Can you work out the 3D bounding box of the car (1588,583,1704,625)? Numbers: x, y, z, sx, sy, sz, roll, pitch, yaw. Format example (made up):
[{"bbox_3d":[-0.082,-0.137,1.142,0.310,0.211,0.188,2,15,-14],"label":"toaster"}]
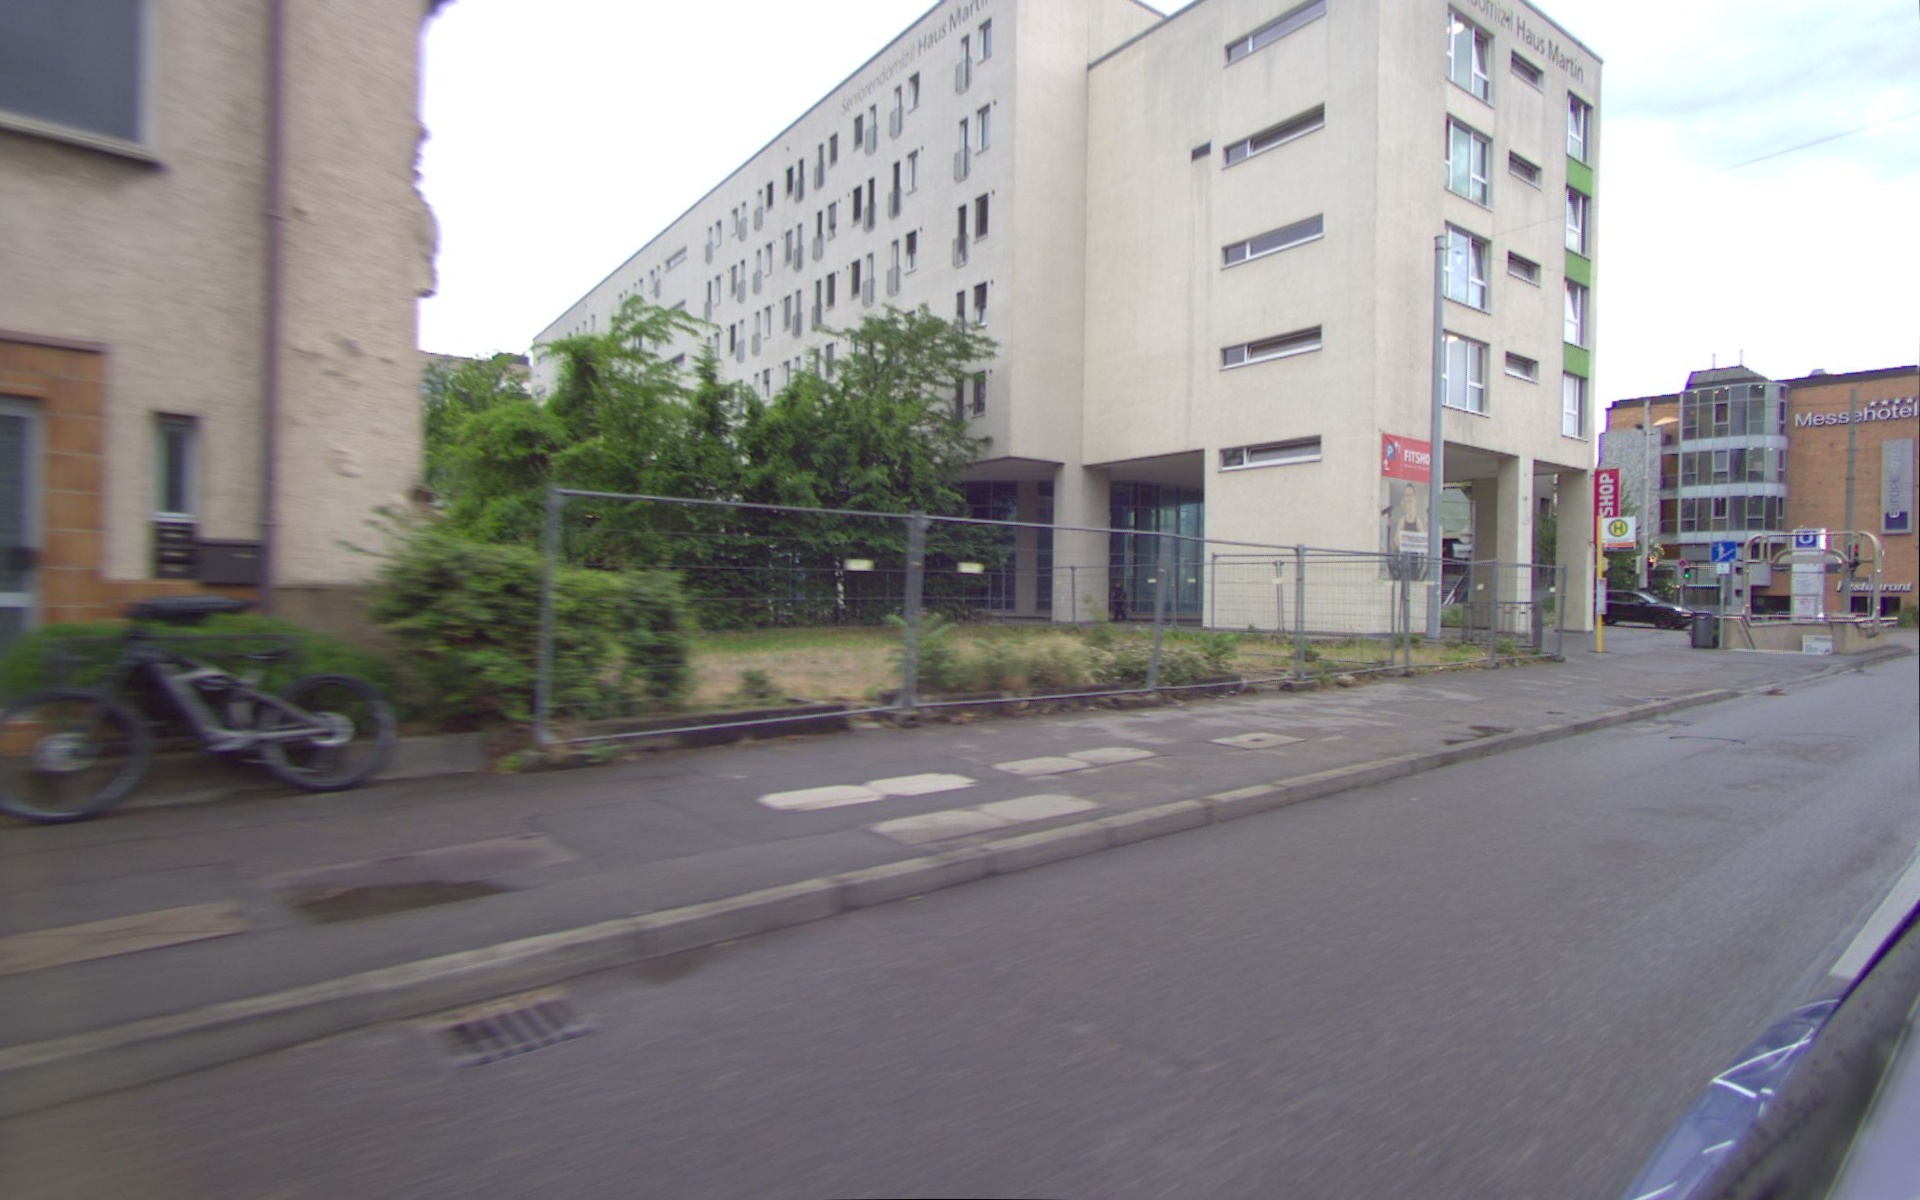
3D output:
[{"bbox_3d":[31.578,0.139,46.662,1.963,1.592,4.000,-2,5,-37],"label":"car"}]
